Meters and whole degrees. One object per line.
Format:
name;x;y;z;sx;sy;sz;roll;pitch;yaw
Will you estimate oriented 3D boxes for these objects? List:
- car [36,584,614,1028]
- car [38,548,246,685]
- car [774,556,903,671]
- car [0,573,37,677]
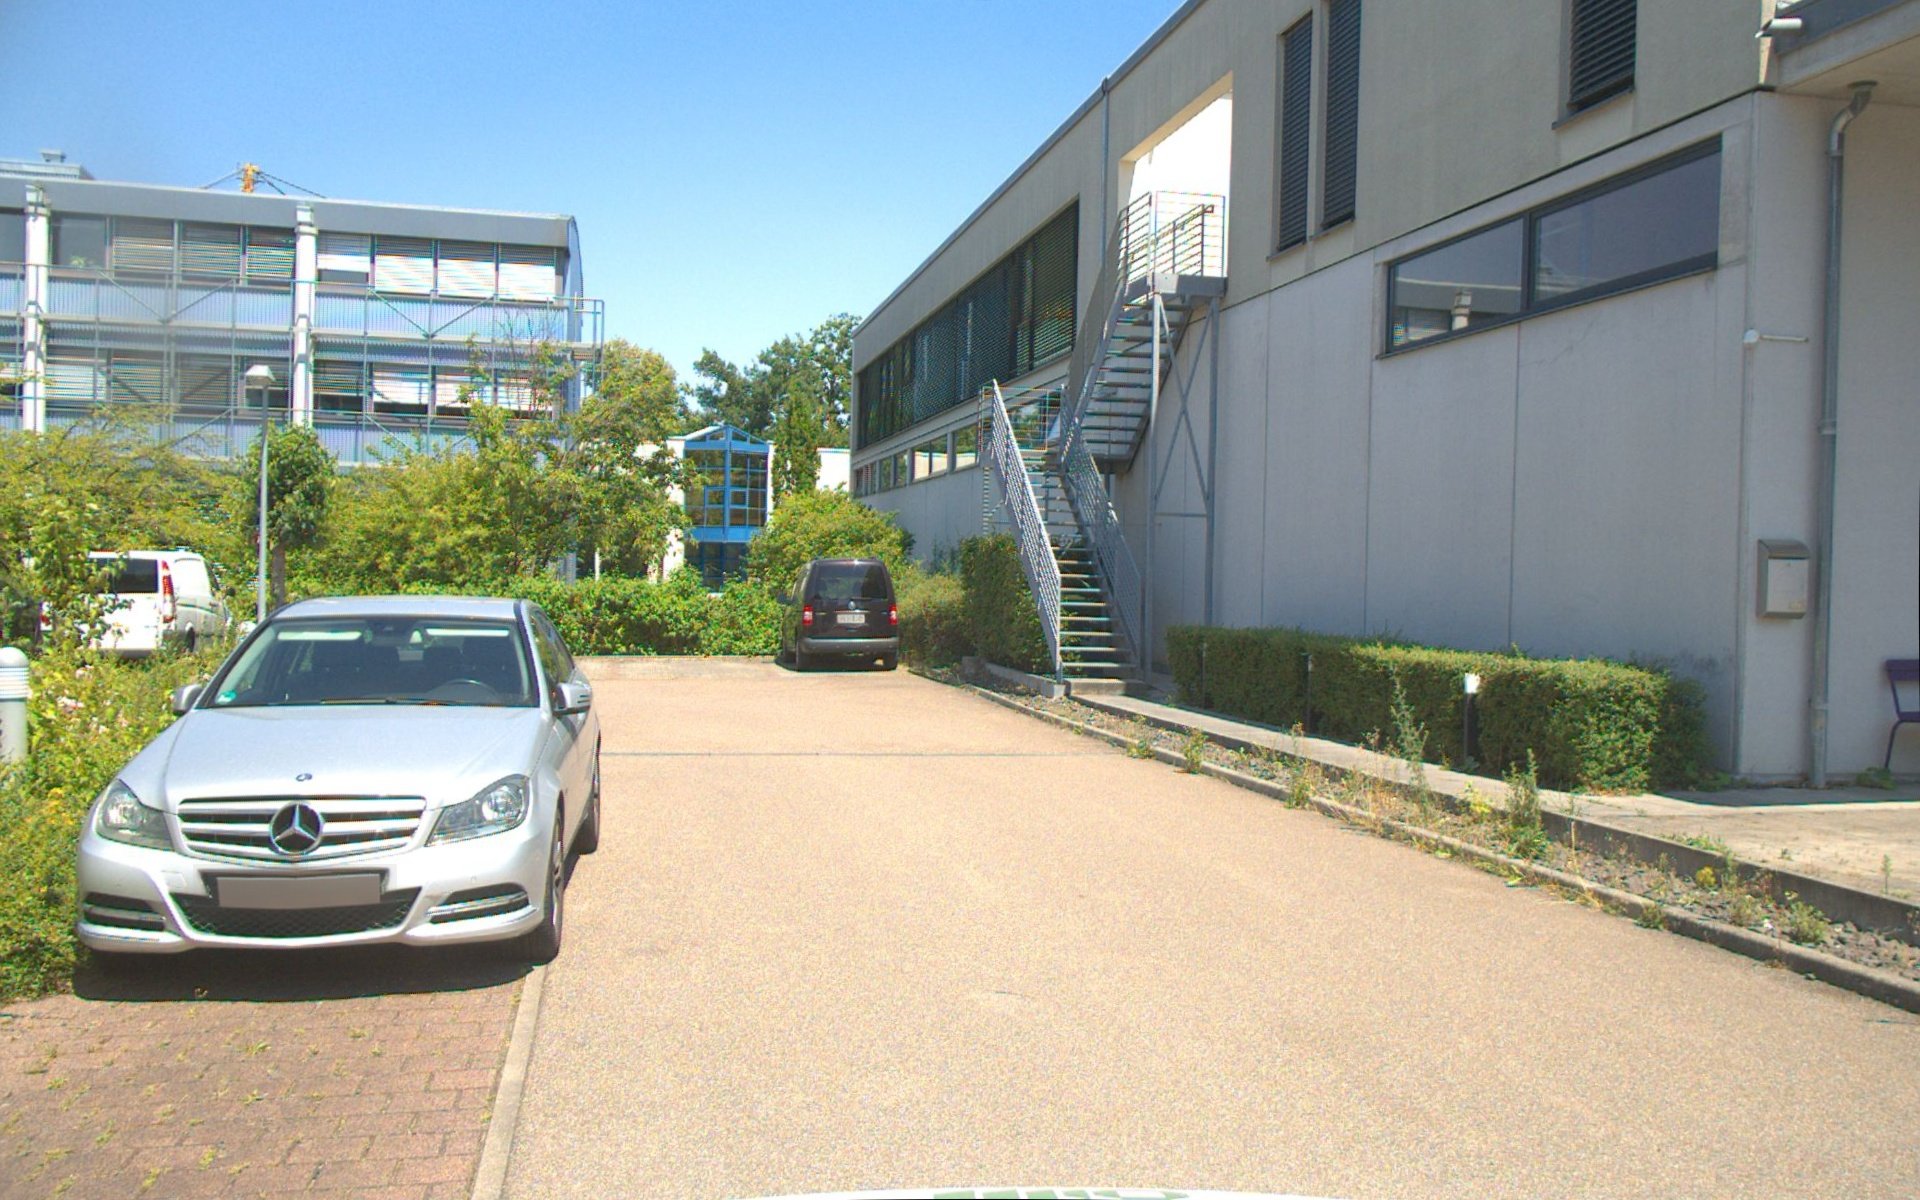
car;-2.583;0.669;7.724;1.697;1.482;4.139;0;1;-9
car;-12.685;0.165;25.983;1.880;1.938;4.792;0;2;-13
car;-2.193;0.178;29.025;1.713;1.869;3.988;0;1;-13
car;-15.587;0.361;25.595;1.729;1.502;3.975;-1;2;-21
